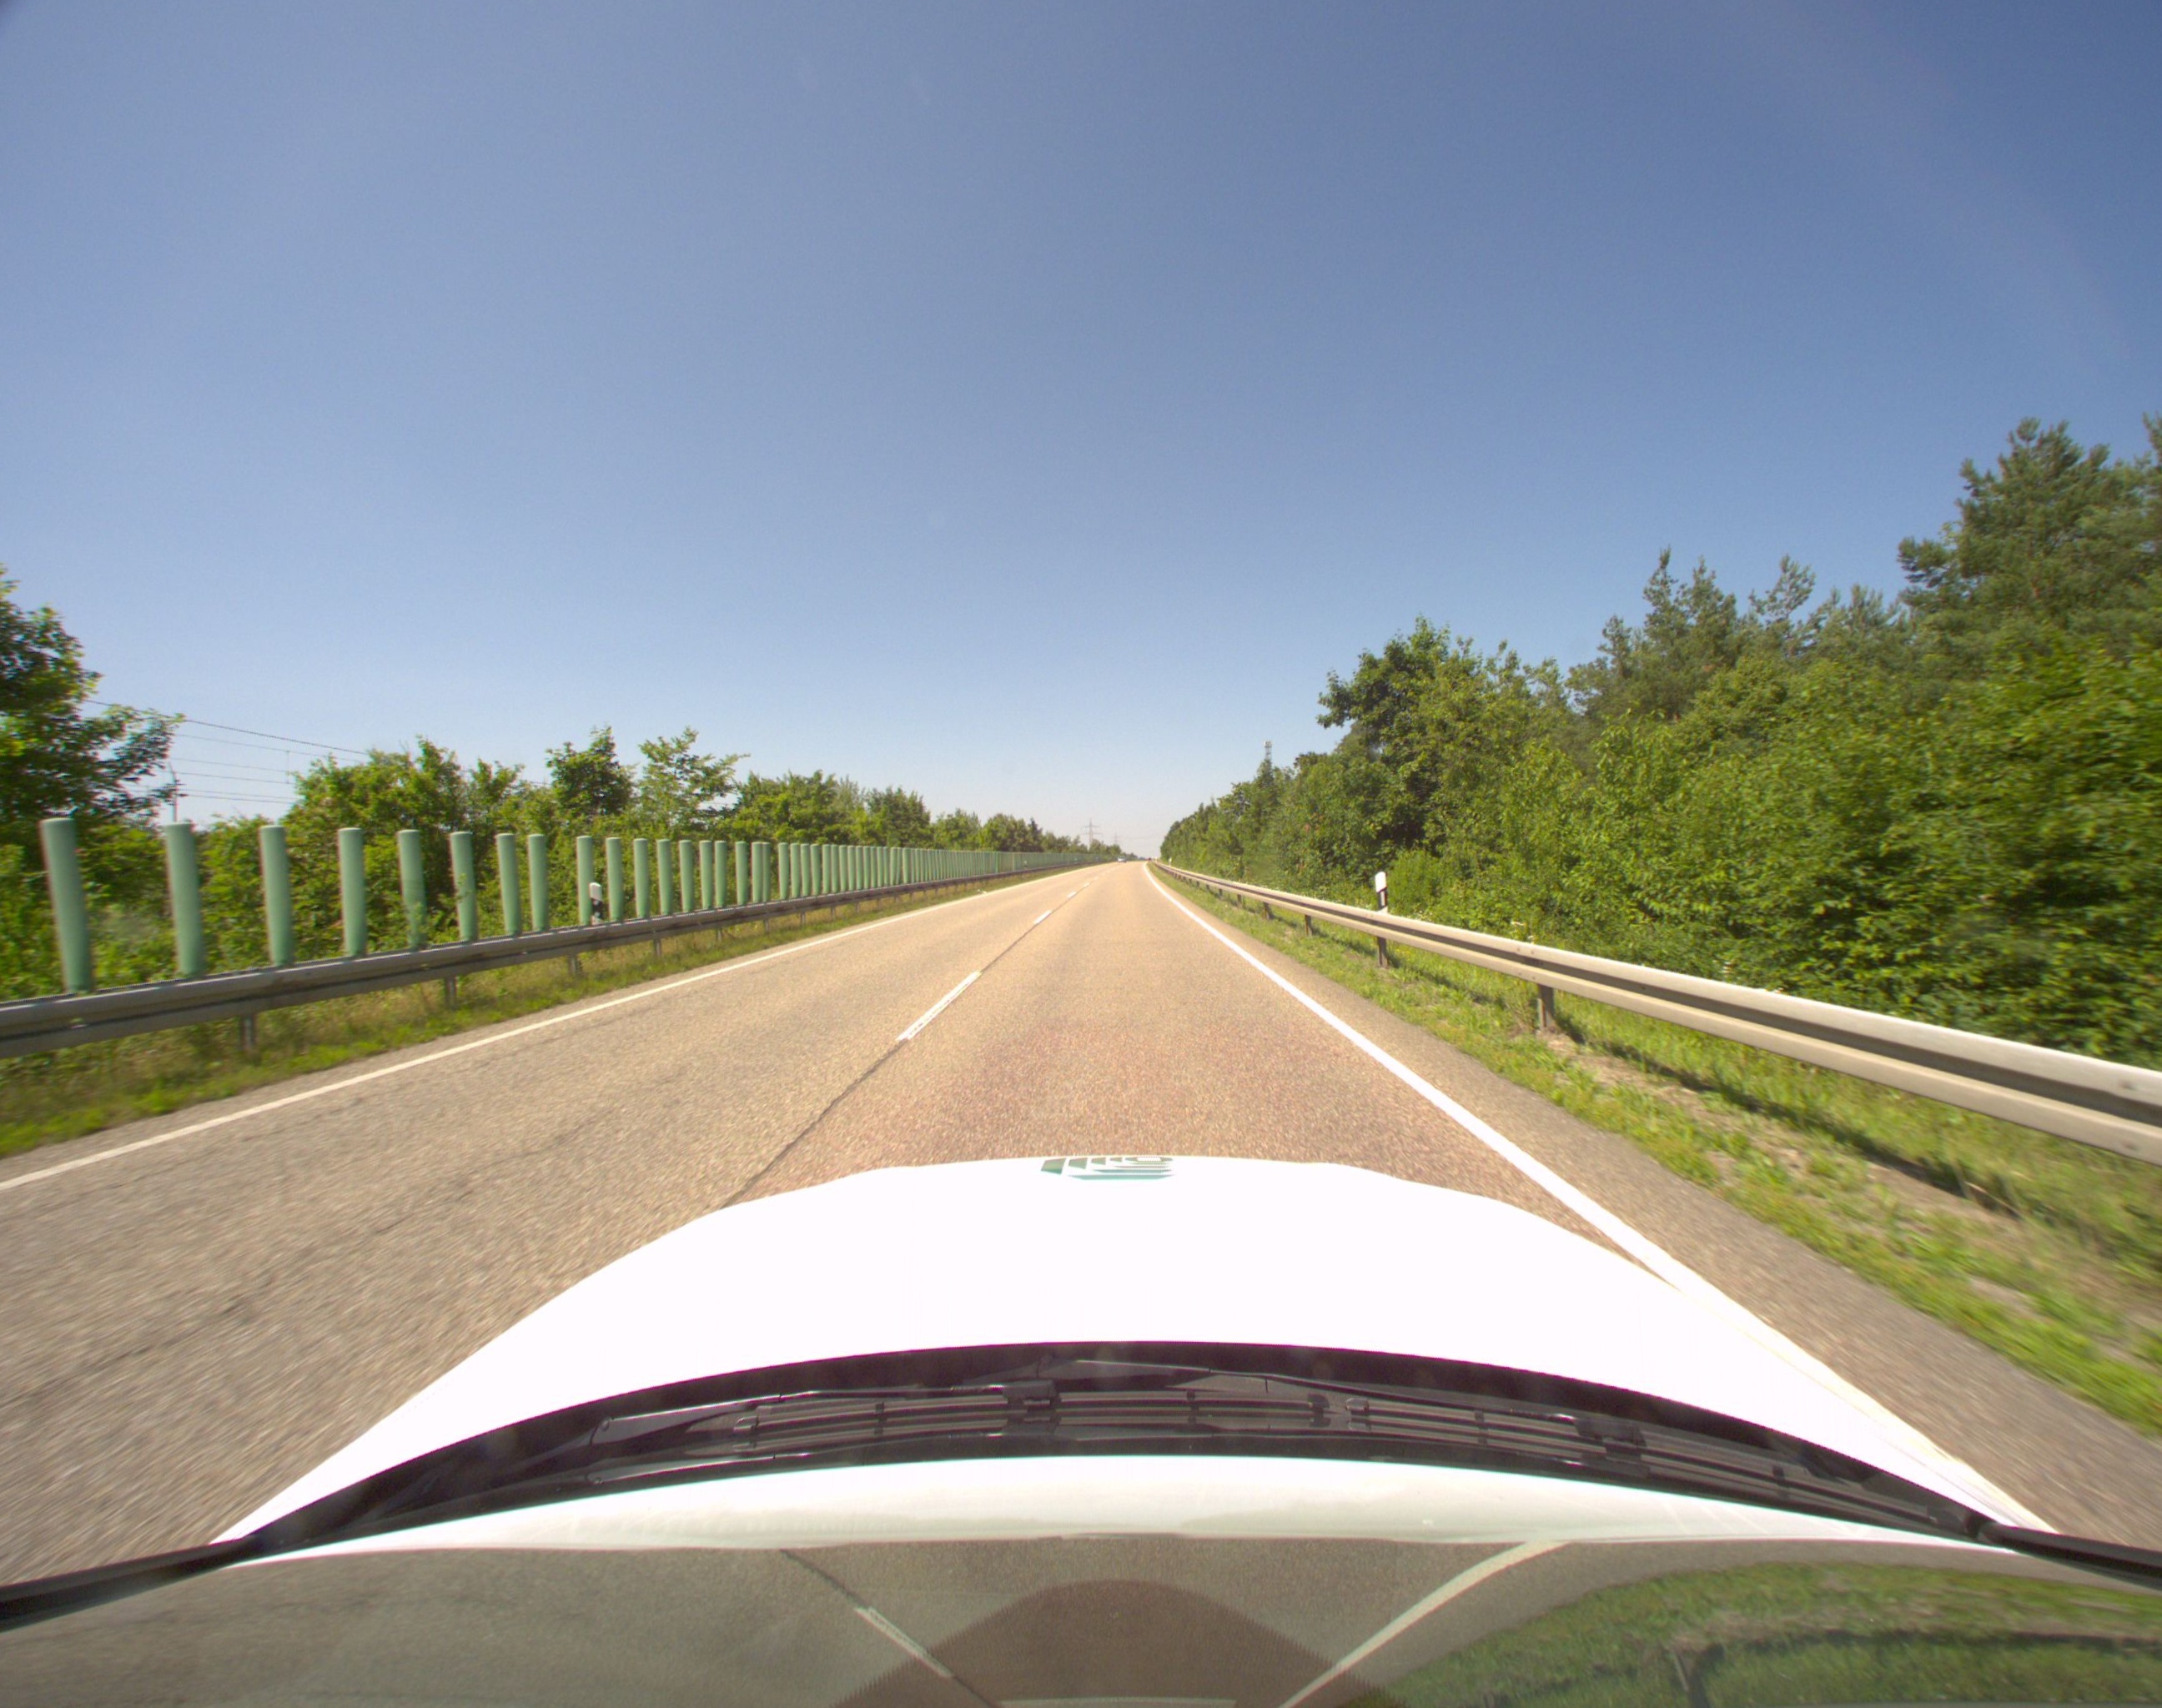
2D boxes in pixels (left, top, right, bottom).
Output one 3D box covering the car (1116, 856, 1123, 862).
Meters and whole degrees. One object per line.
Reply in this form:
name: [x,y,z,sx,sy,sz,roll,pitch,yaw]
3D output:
car: [9.228,1.216,194.329,1.712,1.501,4.252,-1,0,4]
